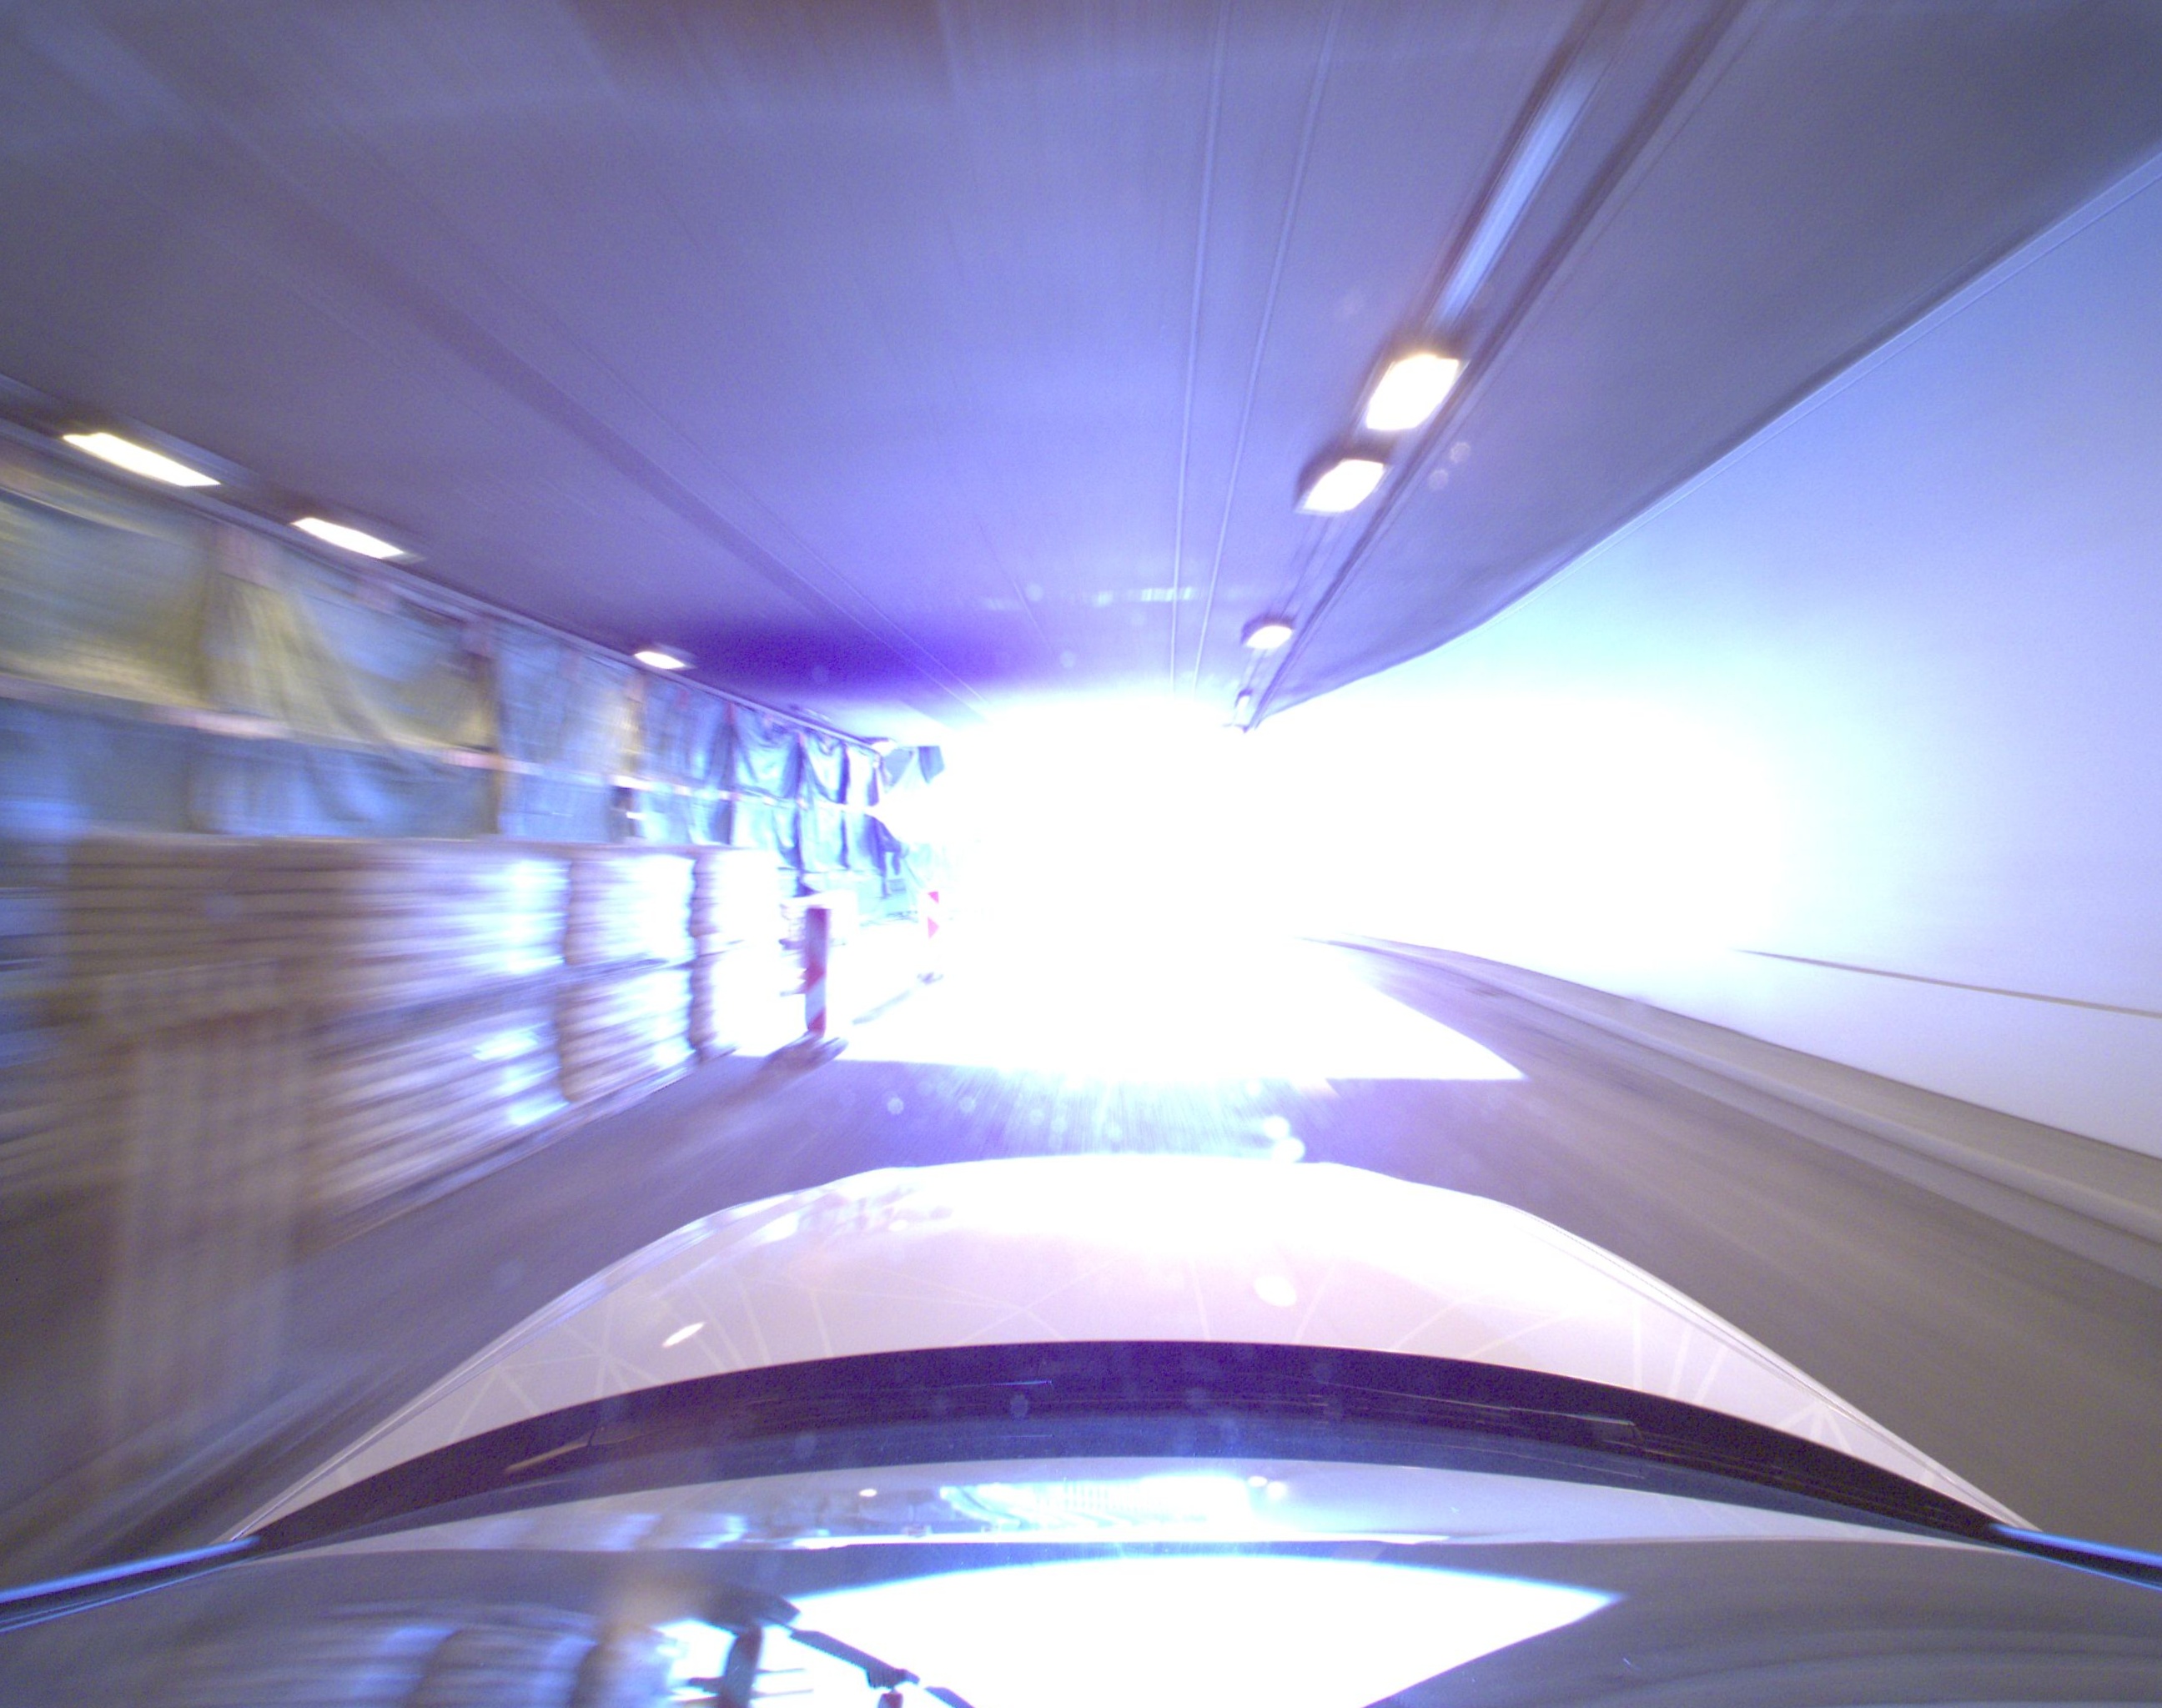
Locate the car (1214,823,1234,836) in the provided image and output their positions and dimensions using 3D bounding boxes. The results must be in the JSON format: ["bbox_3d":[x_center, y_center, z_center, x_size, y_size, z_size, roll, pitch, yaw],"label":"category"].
[{"bbox_3d":[18.759,-3.257,106.741,1.761,1.604,4.021,0,2,21],"label":"car"}]
